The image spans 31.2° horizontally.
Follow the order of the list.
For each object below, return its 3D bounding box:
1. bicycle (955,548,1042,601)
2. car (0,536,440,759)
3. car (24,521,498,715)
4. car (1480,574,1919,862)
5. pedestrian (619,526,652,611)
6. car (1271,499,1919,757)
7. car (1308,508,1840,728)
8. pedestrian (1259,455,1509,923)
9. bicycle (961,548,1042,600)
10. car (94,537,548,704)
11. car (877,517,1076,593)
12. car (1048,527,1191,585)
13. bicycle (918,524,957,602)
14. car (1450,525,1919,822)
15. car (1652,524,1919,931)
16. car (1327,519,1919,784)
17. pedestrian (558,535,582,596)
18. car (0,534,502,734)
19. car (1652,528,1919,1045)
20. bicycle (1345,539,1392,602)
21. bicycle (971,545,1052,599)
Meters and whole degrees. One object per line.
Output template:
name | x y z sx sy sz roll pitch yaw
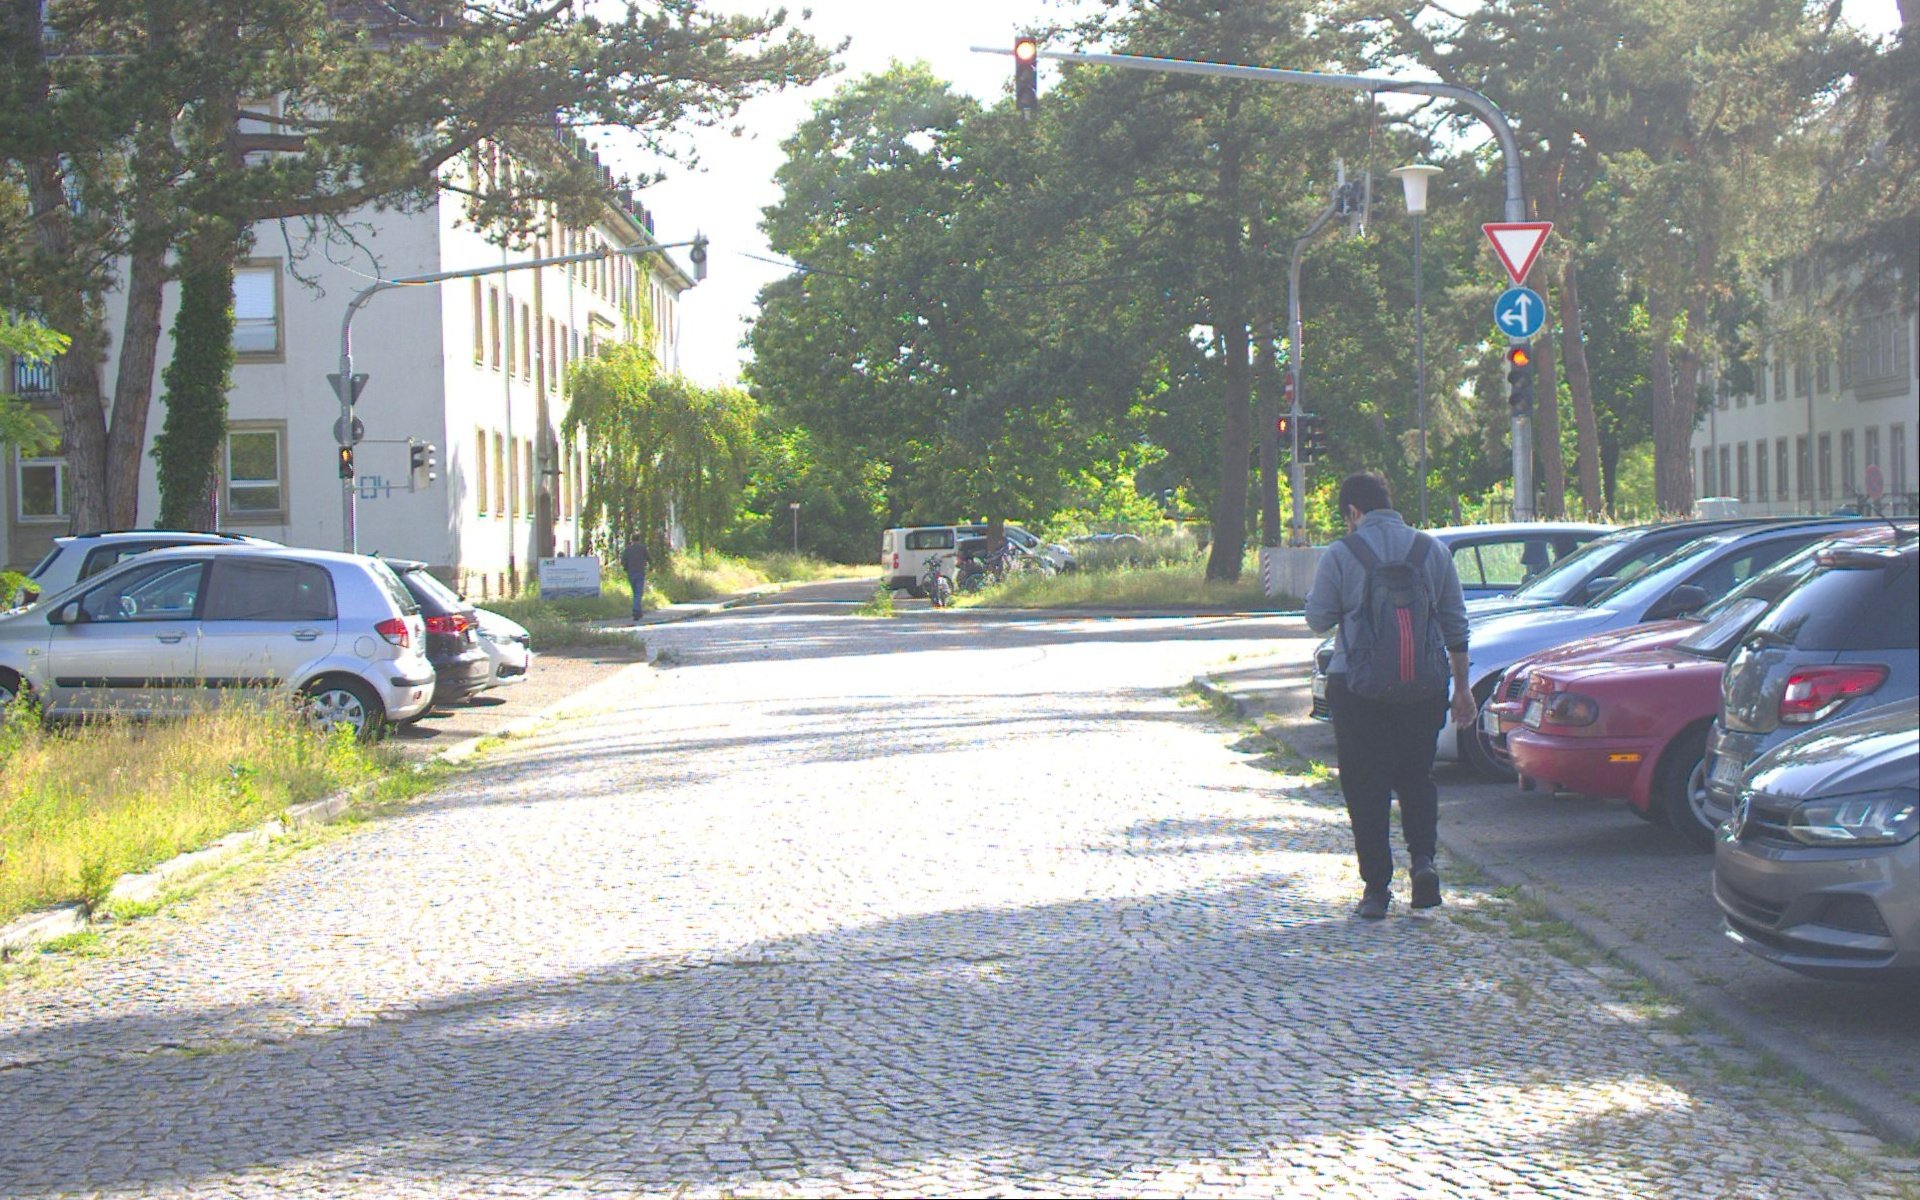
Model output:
bicycle | 0.838 -0.560 75.069 1.834 1.108 0.495 -1 1 -3
car | -5.790 0.319 25.307 3.685 1.522 1.699 1 1 -2
car | -6.175 0.144 30.645 3.879 1.610 1.661 1 1 -1
car | 4.290 0.513 16.127 3.460 1.238 1.536 -1 1 1
pedestrian | -6.652 -0.649 70.512 0.607 1.746 0.630 -1 1 -1
car | 4.599 0.157 23.657 4.619 1.450 1.870 -3 1 -2
car | 4.600 0.116 26.109 3.673 1.438 1.665 -3 1 0
pedestrian | 1.632 0.330 13.360 0.753 1.719 0.828 4 1 -1
bicycle | 0.903 -0.571 75.613 1.727 1.108 0.484 -1 1 -3
car | -6.153 0.173 33.365 3.987 1.491 1.772 1 1 5
car | 0.435 -1.228 92.957 5.065 1.911 2.001 -1 1 -9
car | 4.480 -1.243 96.872 3.743 1.574 1.742 -1 1 -7
bicycle | -0.476 -0.780 71.706 0.753 1.575 2.537 -1 1 -1
car | 4.776 0.335 18.512 3.979 1.443 1.656 -2 1 0
car | 4.747 0.387 13.490 3.663 1.450 1.667 -3 1 0
car | 4.552 0.262 20.793 4.399 1.384 1.789 -2 1 -1
pedestrian | -10.115 -0.896 89.157 0.606 1.554 0.545 -1 1 -7
car | -5.820 0.250 27.972 3.937 1.440 1.691 2 1 -1
car | 4.226 0.455 10.659 3.781 1.445 1.758 -2 1 2
bicycle | 7.513 -0.555 63.141 0.722 1.111 2.583 -1 1 9
bicycle | 1.135 -0.623 76.293 1.727 1.160 0.561 -1 1 -3
